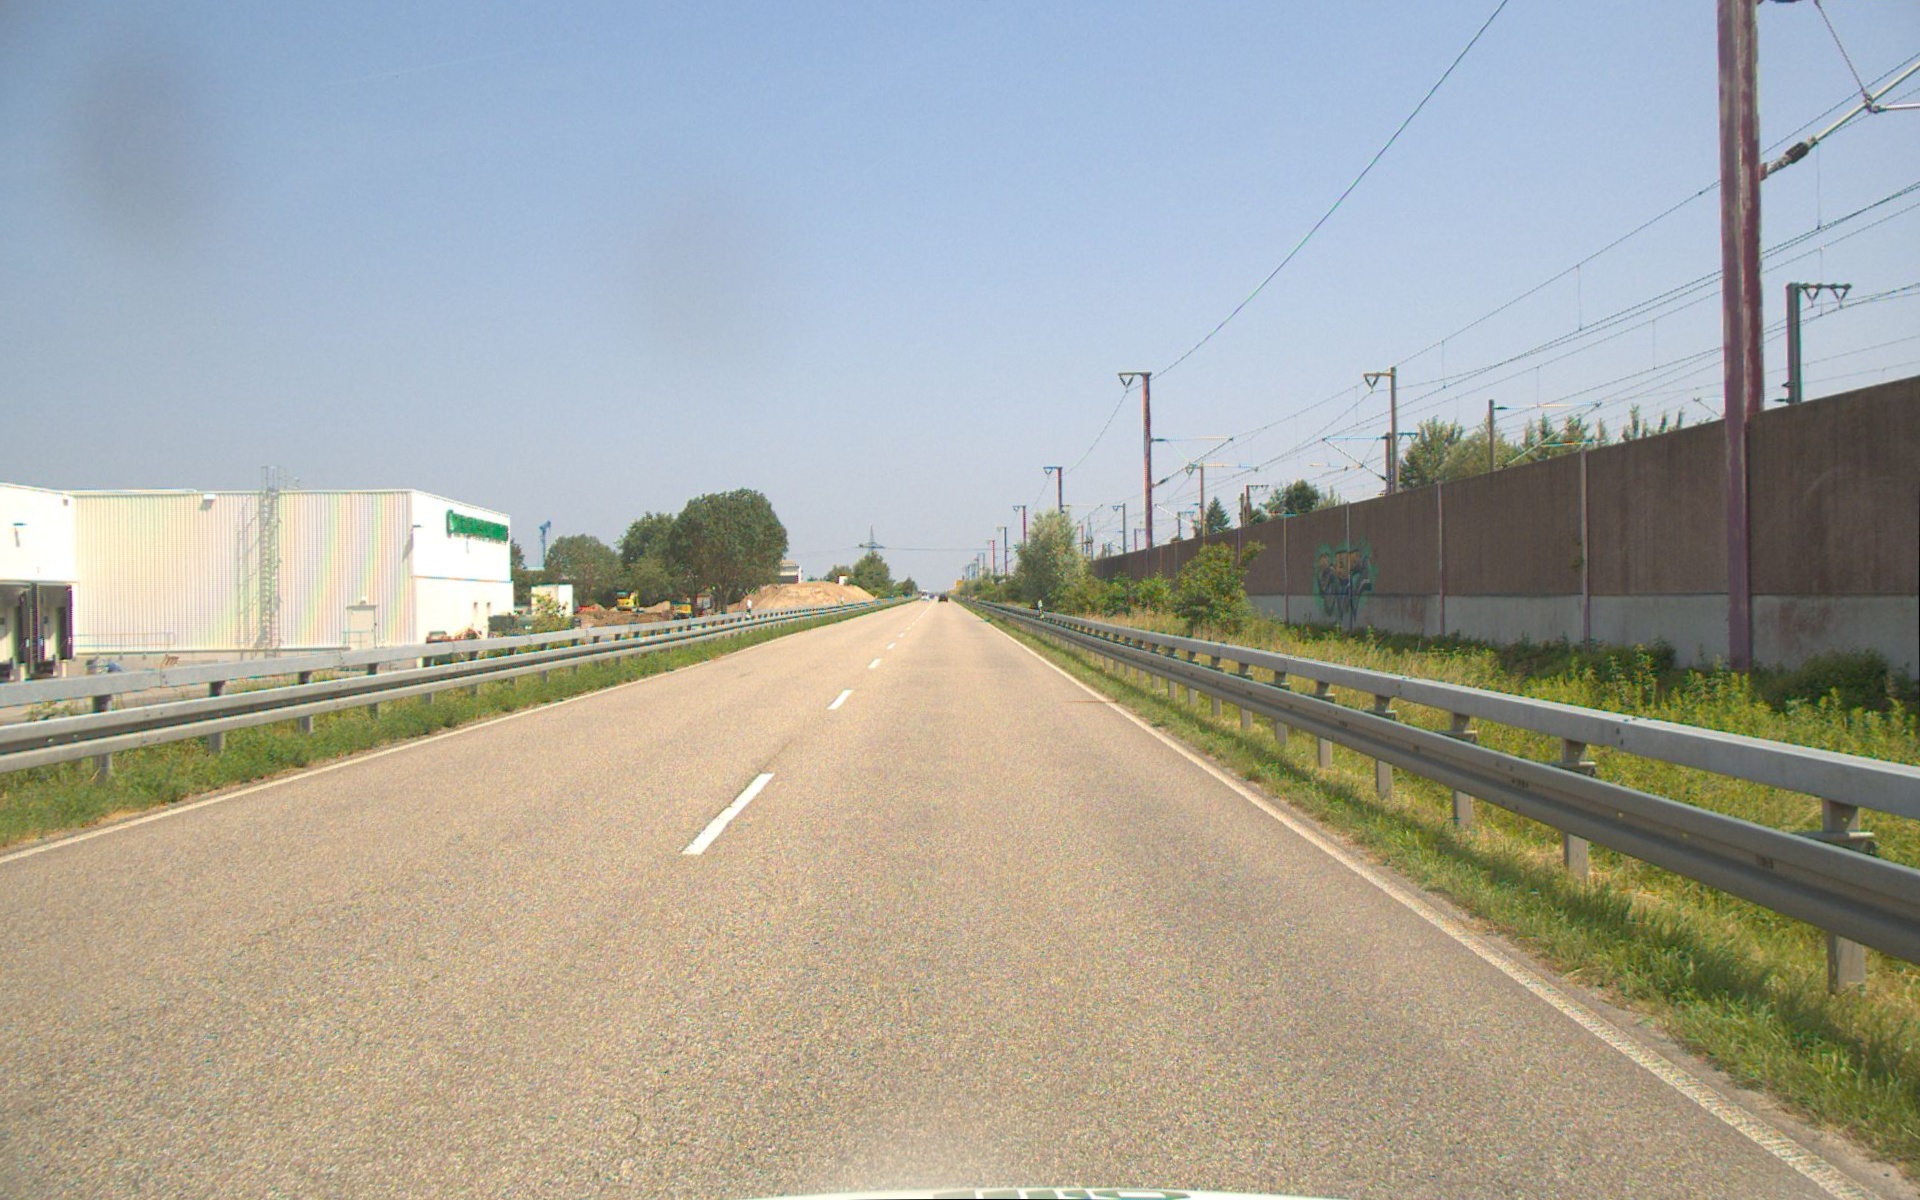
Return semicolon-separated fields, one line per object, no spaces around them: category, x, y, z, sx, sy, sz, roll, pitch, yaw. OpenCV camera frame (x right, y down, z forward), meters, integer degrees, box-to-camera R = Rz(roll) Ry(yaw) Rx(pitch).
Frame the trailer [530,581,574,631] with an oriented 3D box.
trailer;-37.013;0.489;150.421;2.626;4.408;7.945;0;1;-5

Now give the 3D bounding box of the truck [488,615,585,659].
truck;-24.019;2.086;93.874;4.907;2.374;2.232;0;0;-1
